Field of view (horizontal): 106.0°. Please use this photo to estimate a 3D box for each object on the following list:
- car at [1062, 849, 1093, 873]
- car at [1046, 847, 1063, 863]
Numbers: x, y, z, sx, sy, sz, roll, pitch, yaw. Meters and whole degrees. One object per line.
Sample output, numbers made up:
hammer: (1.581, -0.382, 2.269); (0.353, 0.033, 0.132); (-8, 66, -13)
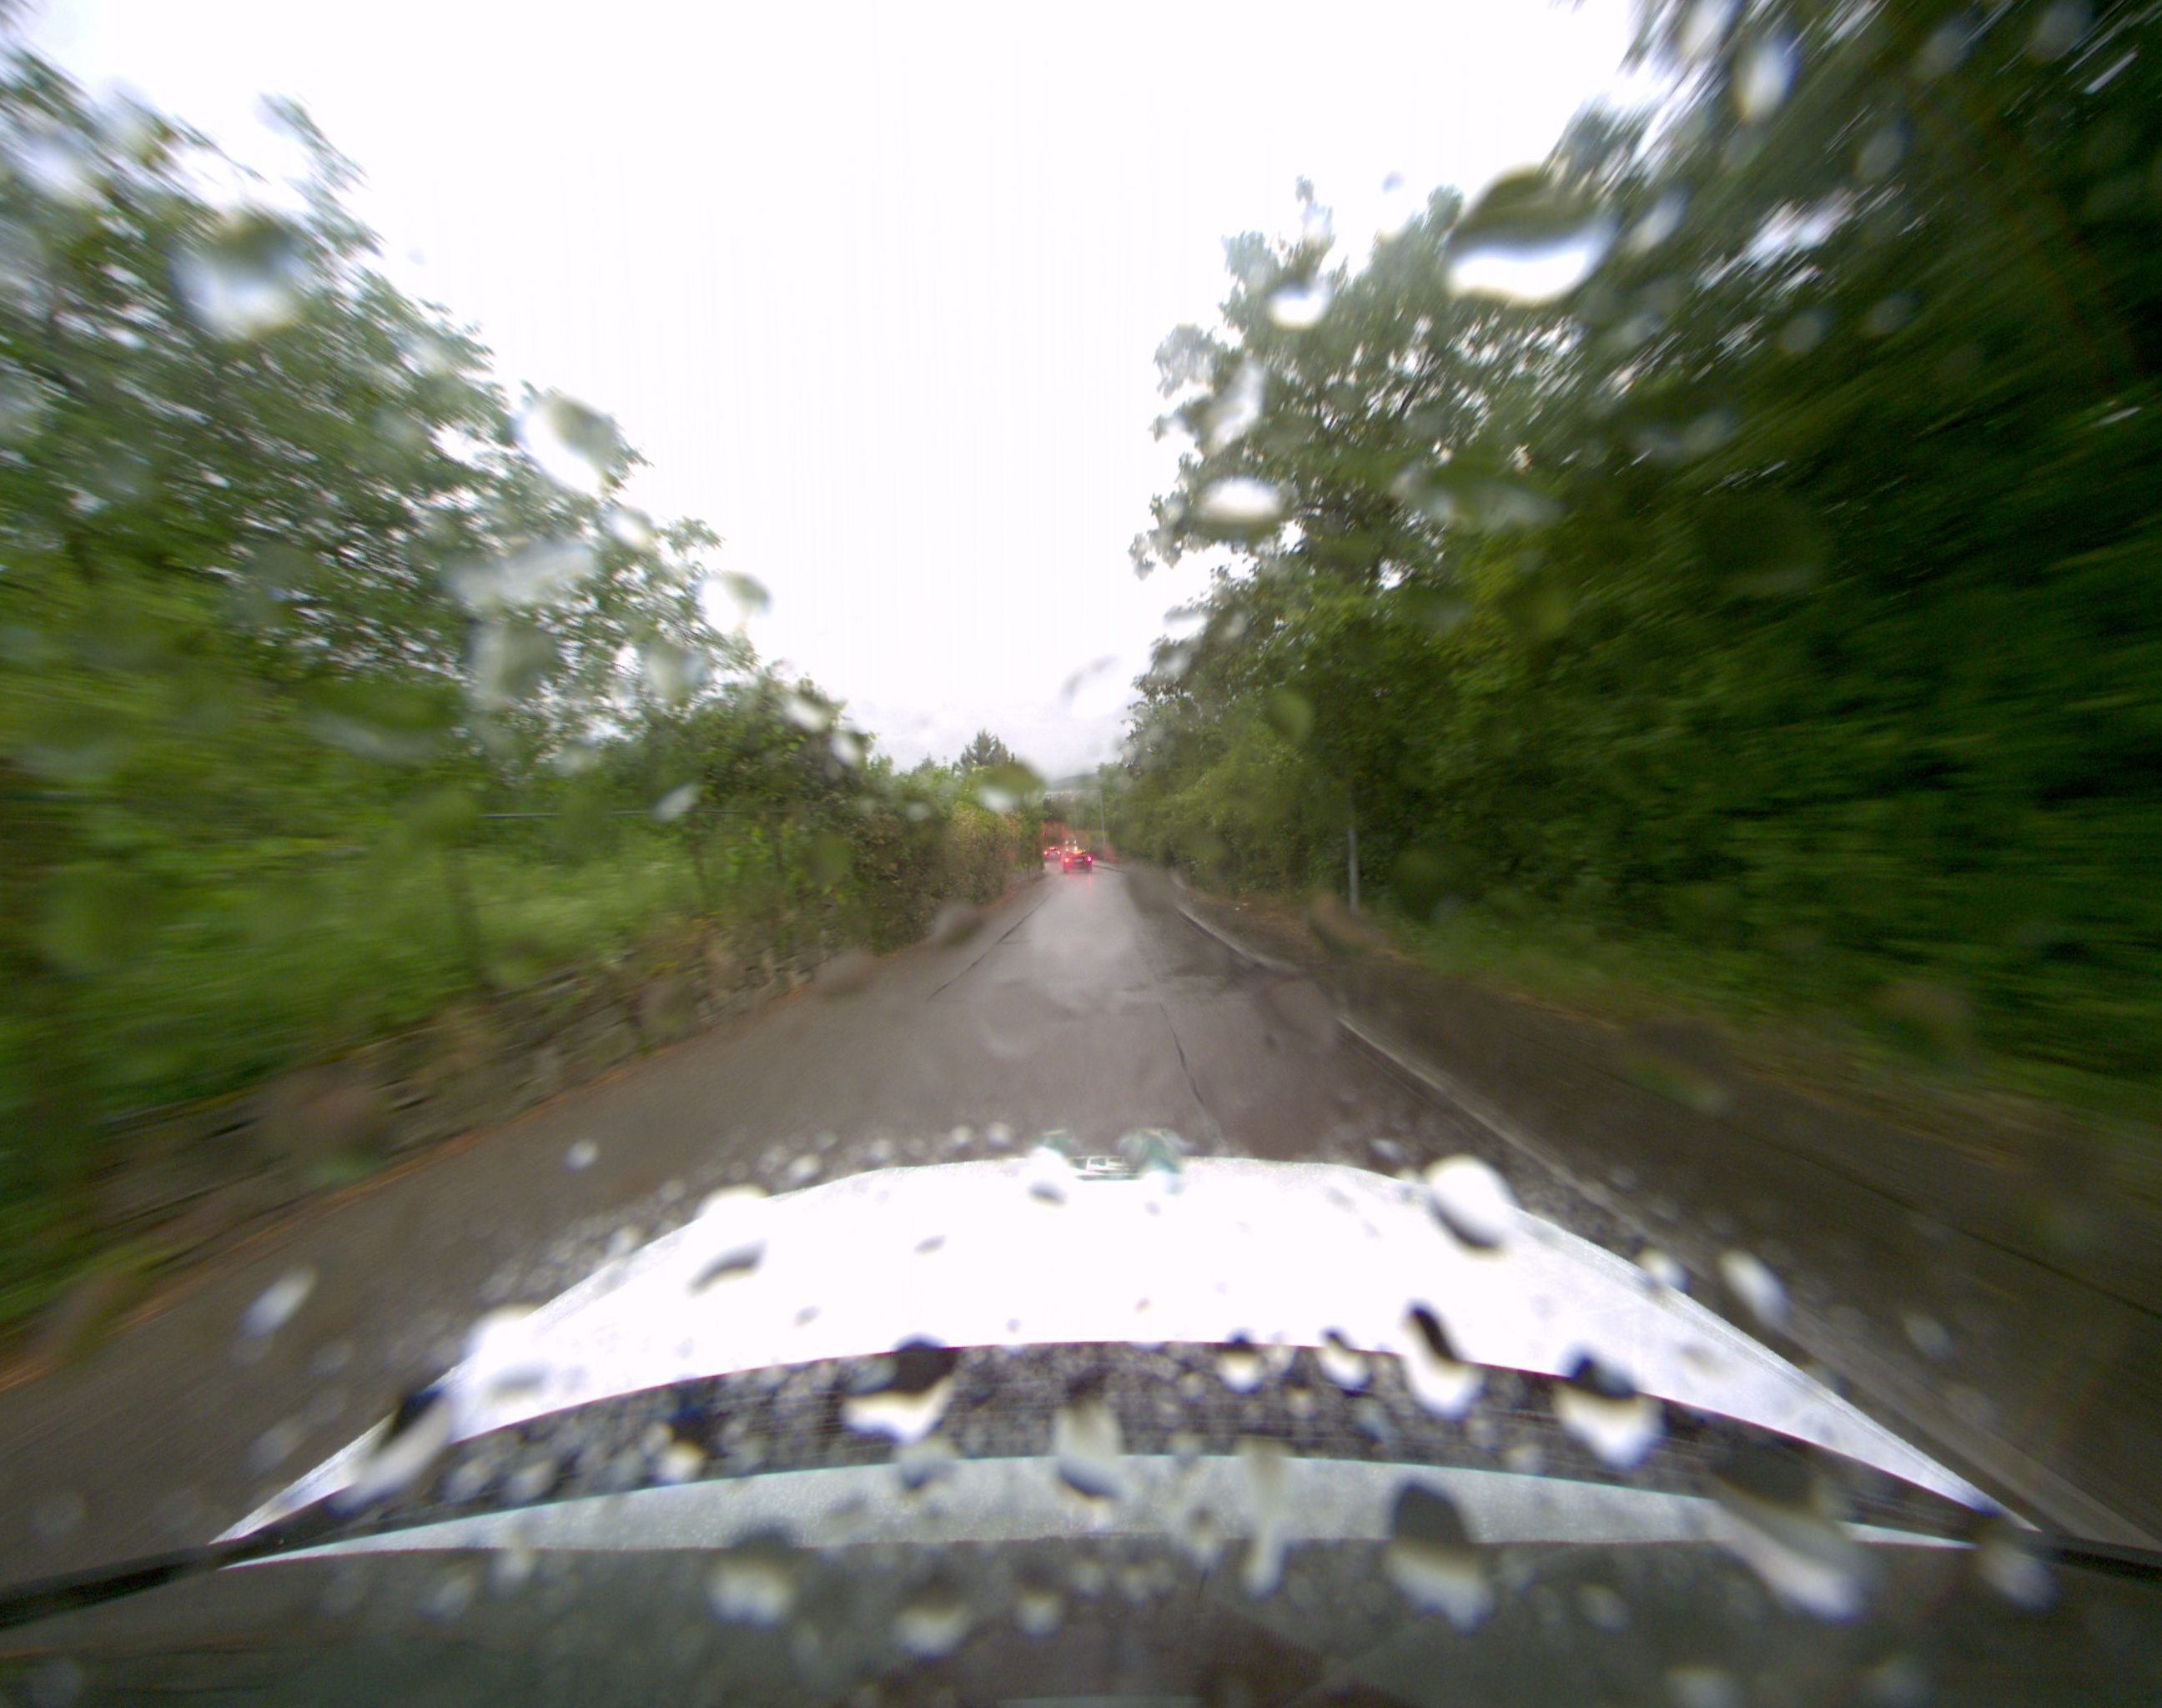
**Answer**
car: (-0.275, 0.471, 53.385); (1.830, 1.464, 3.996); (-1, 0, -2)
car: (-2.924, 0.109, 89.324); (1.673, 1.565, 3.794); (-2, 2, 0)
